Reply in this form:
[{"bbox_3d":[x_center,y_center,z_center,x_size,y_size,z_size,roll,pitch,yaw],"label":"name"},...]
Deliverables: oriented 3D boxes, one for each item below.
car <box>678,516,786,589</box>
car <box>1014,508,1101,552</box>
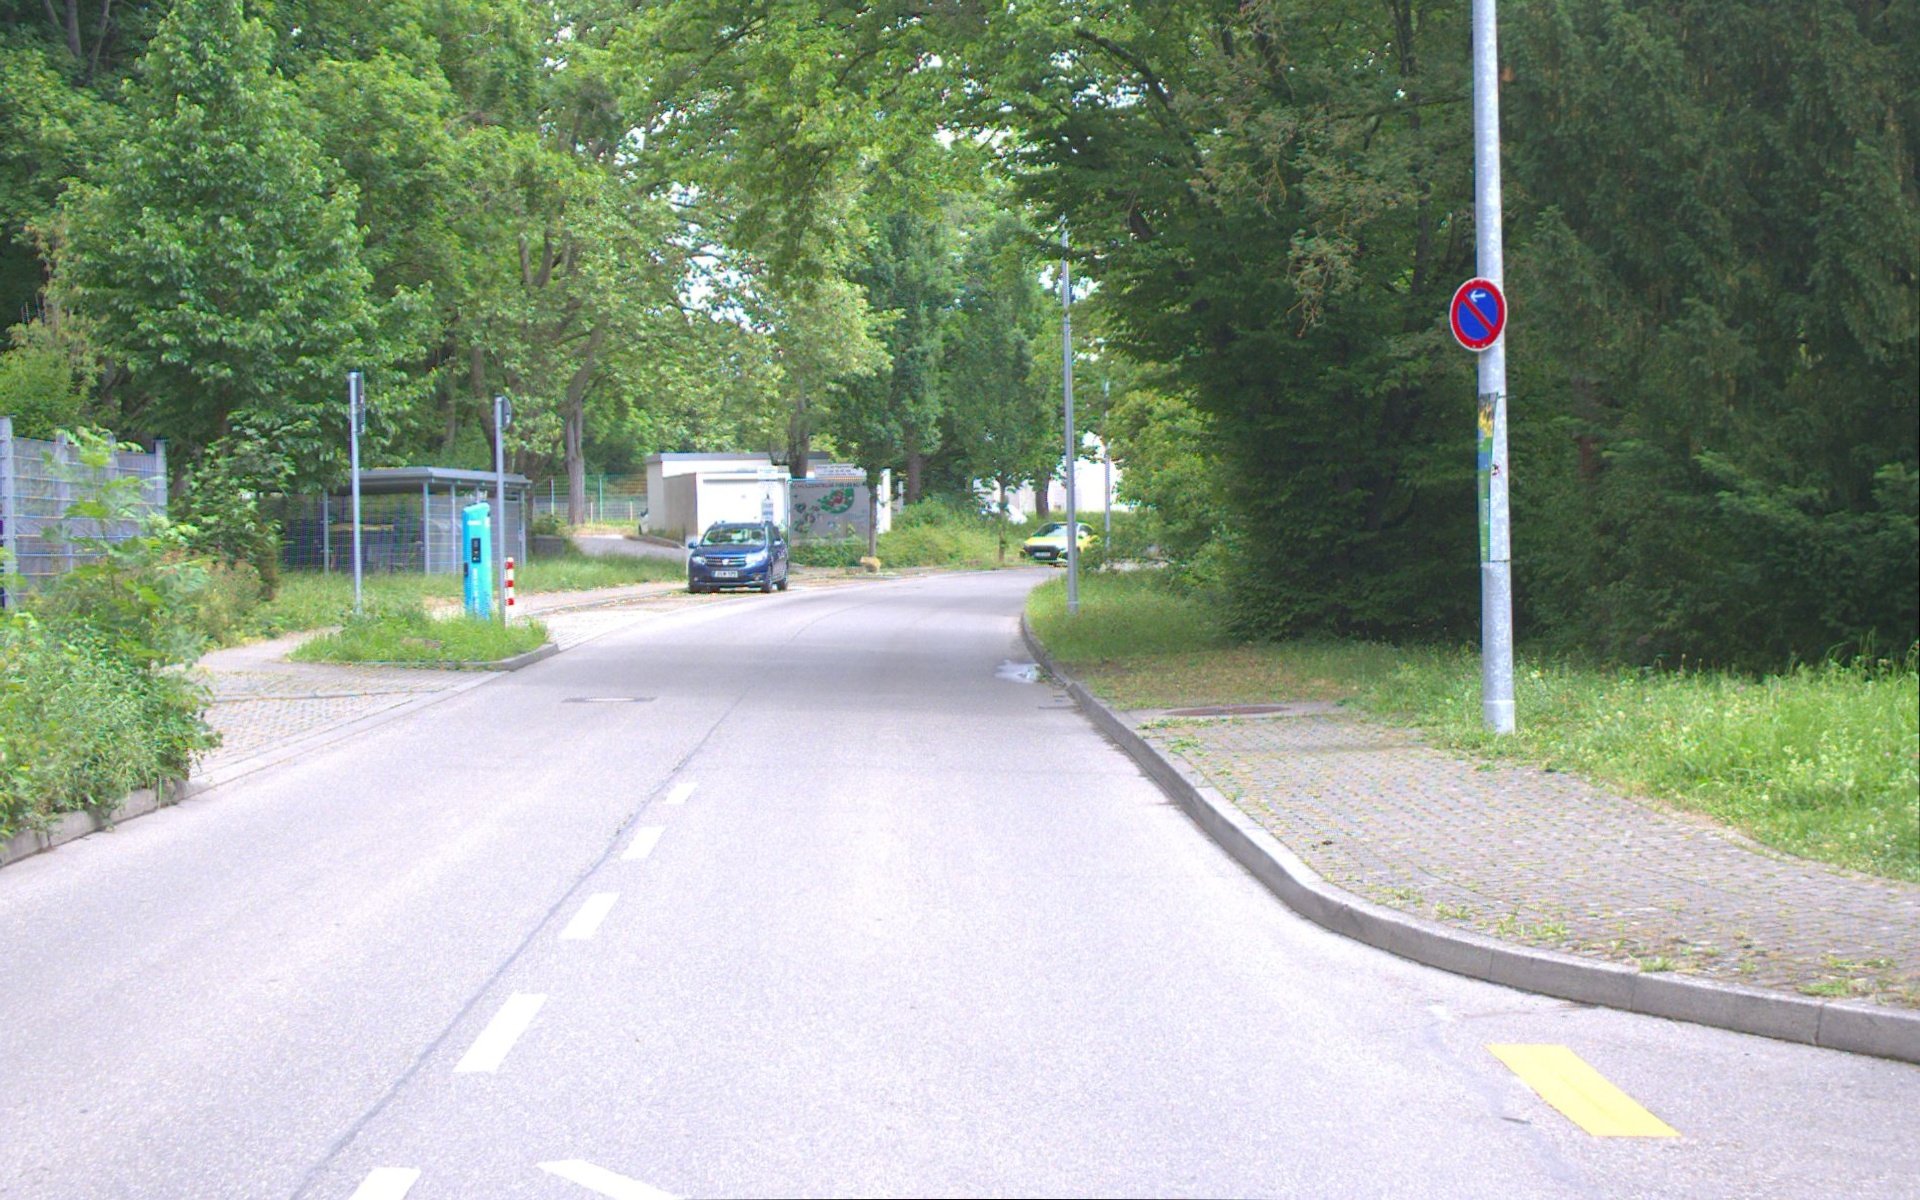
[{"bbox_3d":[-4.822,-1.018,73.112,1.680,1.506,4.431,0,1,4],"label":"car"},{"bbox_3d":[3.154,-2.241,110.562,1.701,1.398,4.270,1,1,17],"label":"car"}]
